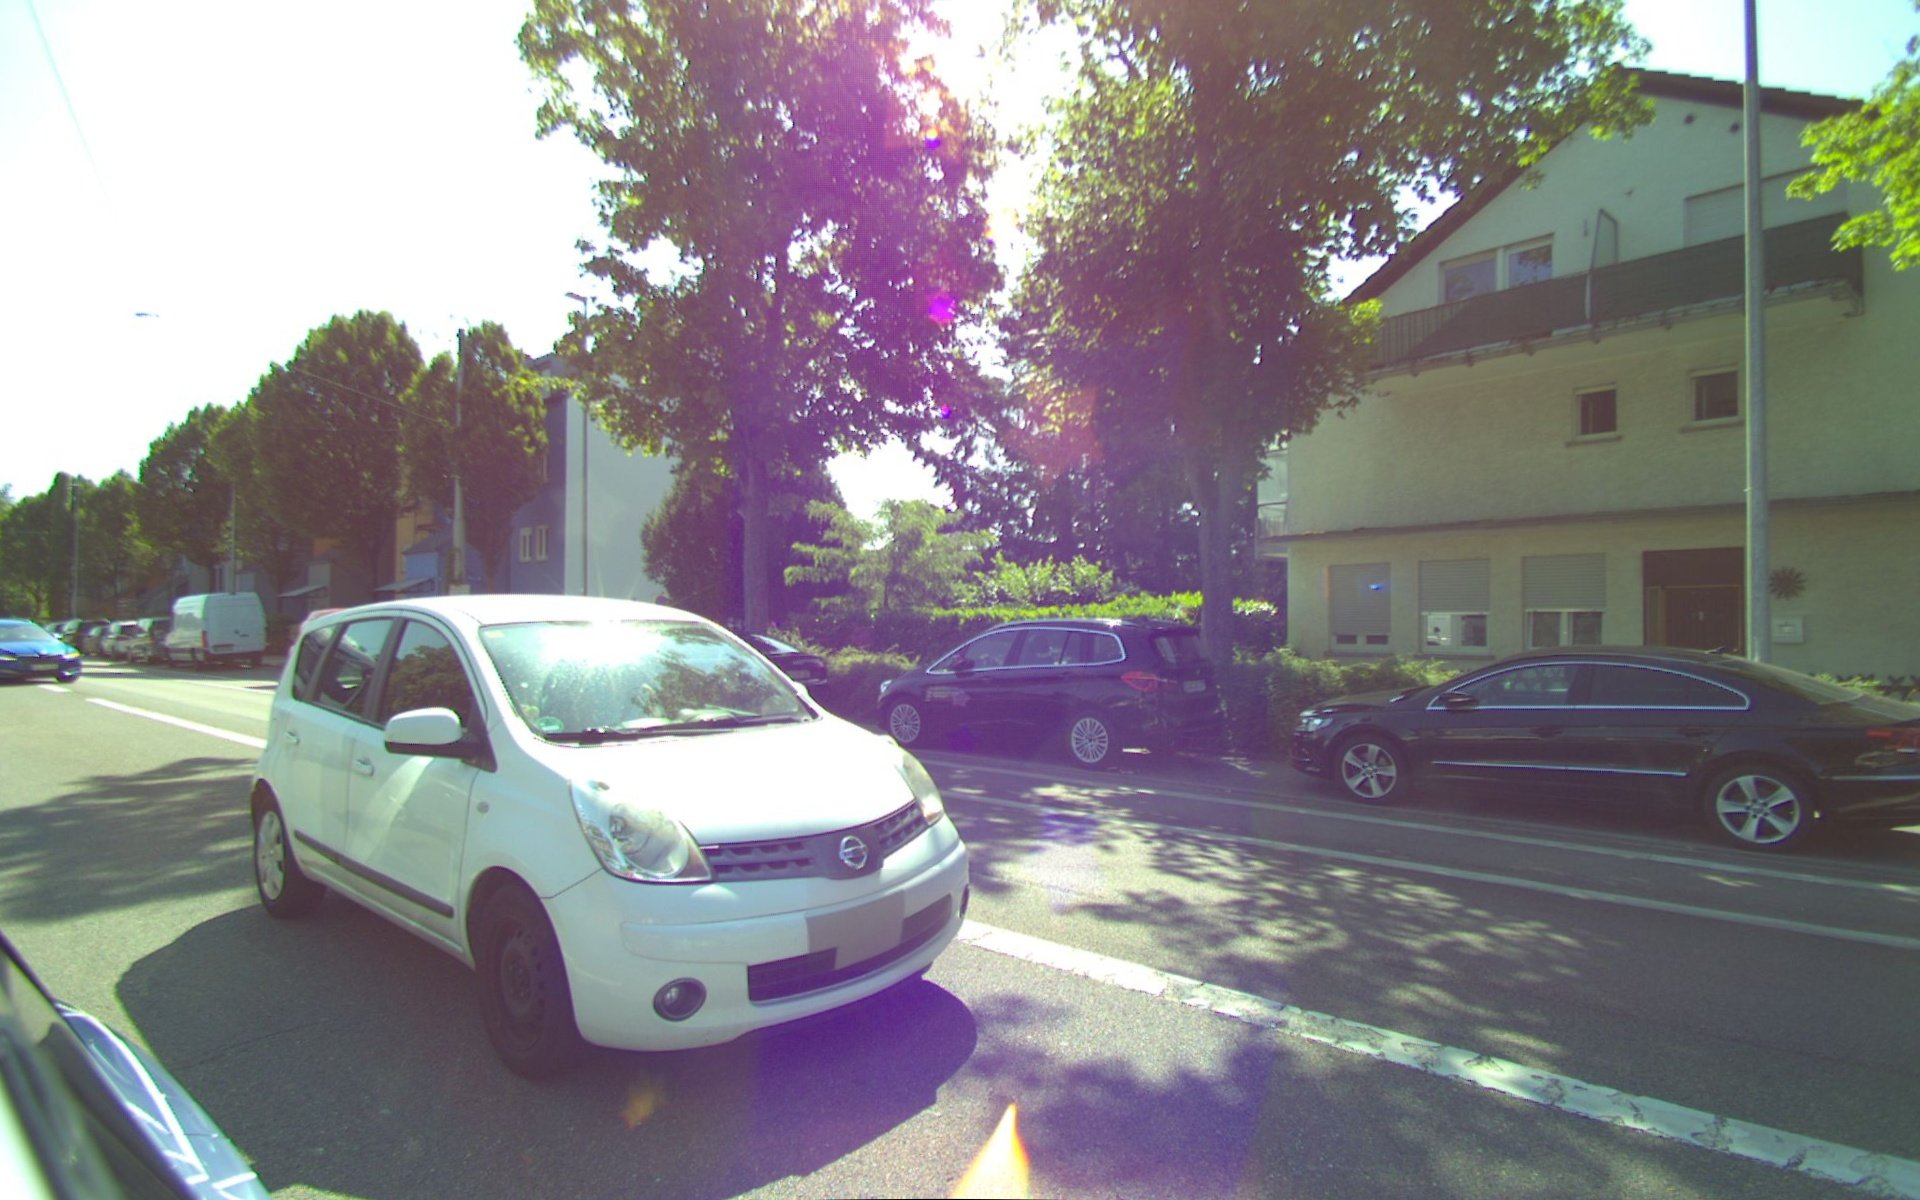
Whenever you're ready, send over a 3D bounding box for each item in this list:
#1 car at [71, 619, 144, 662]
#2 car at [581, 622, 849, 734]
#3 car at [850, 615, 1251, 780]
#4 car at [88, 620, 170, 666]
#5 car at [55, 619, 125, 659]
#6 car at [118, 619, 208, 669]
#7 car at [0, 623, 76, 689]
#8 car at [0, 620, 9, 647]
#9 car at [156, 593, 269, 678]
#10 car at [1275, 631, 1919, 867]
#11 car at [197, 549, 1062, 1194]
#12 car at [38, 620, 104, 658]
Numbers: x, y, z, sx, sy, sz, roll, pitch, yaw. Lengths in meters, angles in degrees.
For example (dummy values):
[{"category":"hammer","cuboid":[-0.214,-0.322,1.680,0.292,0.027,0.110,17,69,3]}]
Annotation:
[{"category":"car","cuboid":[-42.124,1.985,49.992,4.254,1.818,1.974,-2,4,41]},{"category":"car","cuboid":[-4.083,1.166,16.507,4.616,1.583,1.845,-1,-2,39]},{"category":"car","cuboid":[0.931,1.017,12.240,4.619,1.583,1.844,-1,0,41]},{"category":"car","cuboid":[-38.053,1.929,46.319,4.766,1.818,1.974,-2,4,41]},{"category":"car","cuboid":[-45.732,2.037,53.174,4.766,1.818,1.974,-2,4,41]},{"category":"car","cuboid":[-33.499,1.813,42.483,4.766,1.818,1.974,-2,4,41]},{"category":"car","cuboid":[-22.899,1.278,23.836,5.061,1.441,1.869,-1,-3,34]},{"category":"car","cuboid":[-69.066,2.450,71.600,4.766,1.818,1.974,-2,4,41]},{"category":"car","cuboid":[-27.373,1.242,36.951,6.213,2.713,1.973,-2,4,43]},{"category":"car","cuboid":[5.231,1.010,8.444,4.619,1.426,1.844,-1,0,41]},{"category":"car","cuboid":[-1.874,0.703,4.589,4.544,1.559,1.645,-1,-1,41]},{"category":"car","cuboid":[-50.027,2.170,56.921,4.766,1.818,1.974,-2,4,41]}]
